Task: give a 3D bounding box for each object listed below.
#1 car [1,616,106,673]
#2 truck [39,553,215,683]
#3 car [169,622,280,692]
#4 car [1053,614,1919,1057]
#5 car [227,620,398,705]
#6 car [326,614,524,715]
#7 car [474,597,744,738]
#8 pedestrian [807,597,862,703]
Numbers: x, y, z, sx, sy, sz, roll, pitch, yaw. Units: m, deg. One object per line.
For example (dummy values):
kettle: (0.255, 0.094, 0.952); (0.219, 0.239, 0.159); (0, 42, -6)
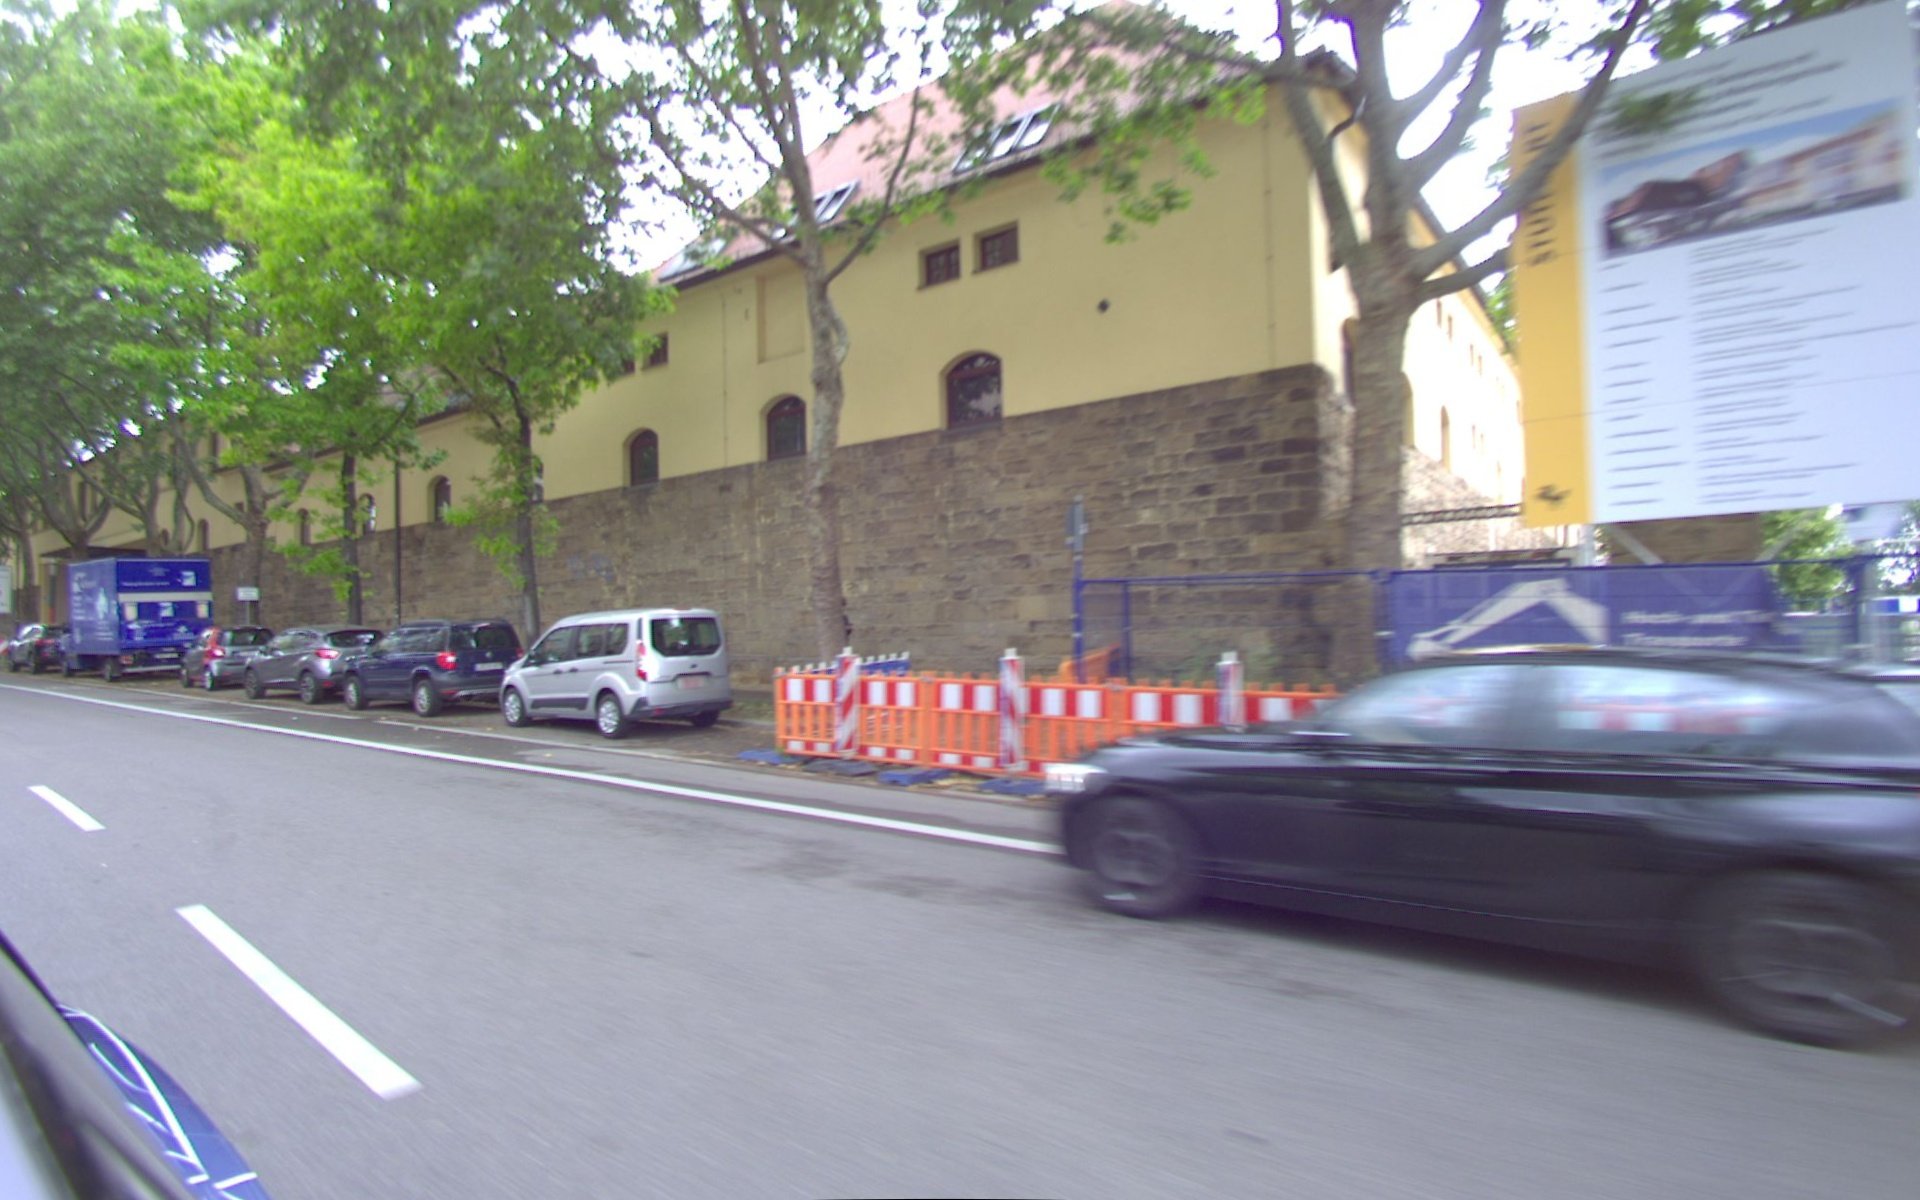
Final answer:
car: (-30.135, 1.422, 33.596); (4.244, 1.702, 1.716); (0, 1, 36)
truck: (-24.643, 0.520, 29.799); (7.232, 3.442, 2.196); (-1, 0, 36)
car: (-18.472, 1.371, 25.387); (2.988, 1.585, 1.466); (0, 1, 38)
car: (2.673, 0.797, 4.681); (4.241, 1.437, 1.684); (-1, -2, 37)
car: (-13.949, 1.263, 21.726); (4.076, 1.585, 1.581); (0, 1, 34)
car: (-10.028, 1.117, 18.875); (4.105, 1.643, 1.496); (0, 1, 34)
car: (-5.502, 0.962, 15.638); (4.409, 1.891, 1.817); (-1, -2, 37)
pedestrian: (-2.205, 0.866, 17.832); (0.741, 1.813, 0.587); (0, 1, 37)
